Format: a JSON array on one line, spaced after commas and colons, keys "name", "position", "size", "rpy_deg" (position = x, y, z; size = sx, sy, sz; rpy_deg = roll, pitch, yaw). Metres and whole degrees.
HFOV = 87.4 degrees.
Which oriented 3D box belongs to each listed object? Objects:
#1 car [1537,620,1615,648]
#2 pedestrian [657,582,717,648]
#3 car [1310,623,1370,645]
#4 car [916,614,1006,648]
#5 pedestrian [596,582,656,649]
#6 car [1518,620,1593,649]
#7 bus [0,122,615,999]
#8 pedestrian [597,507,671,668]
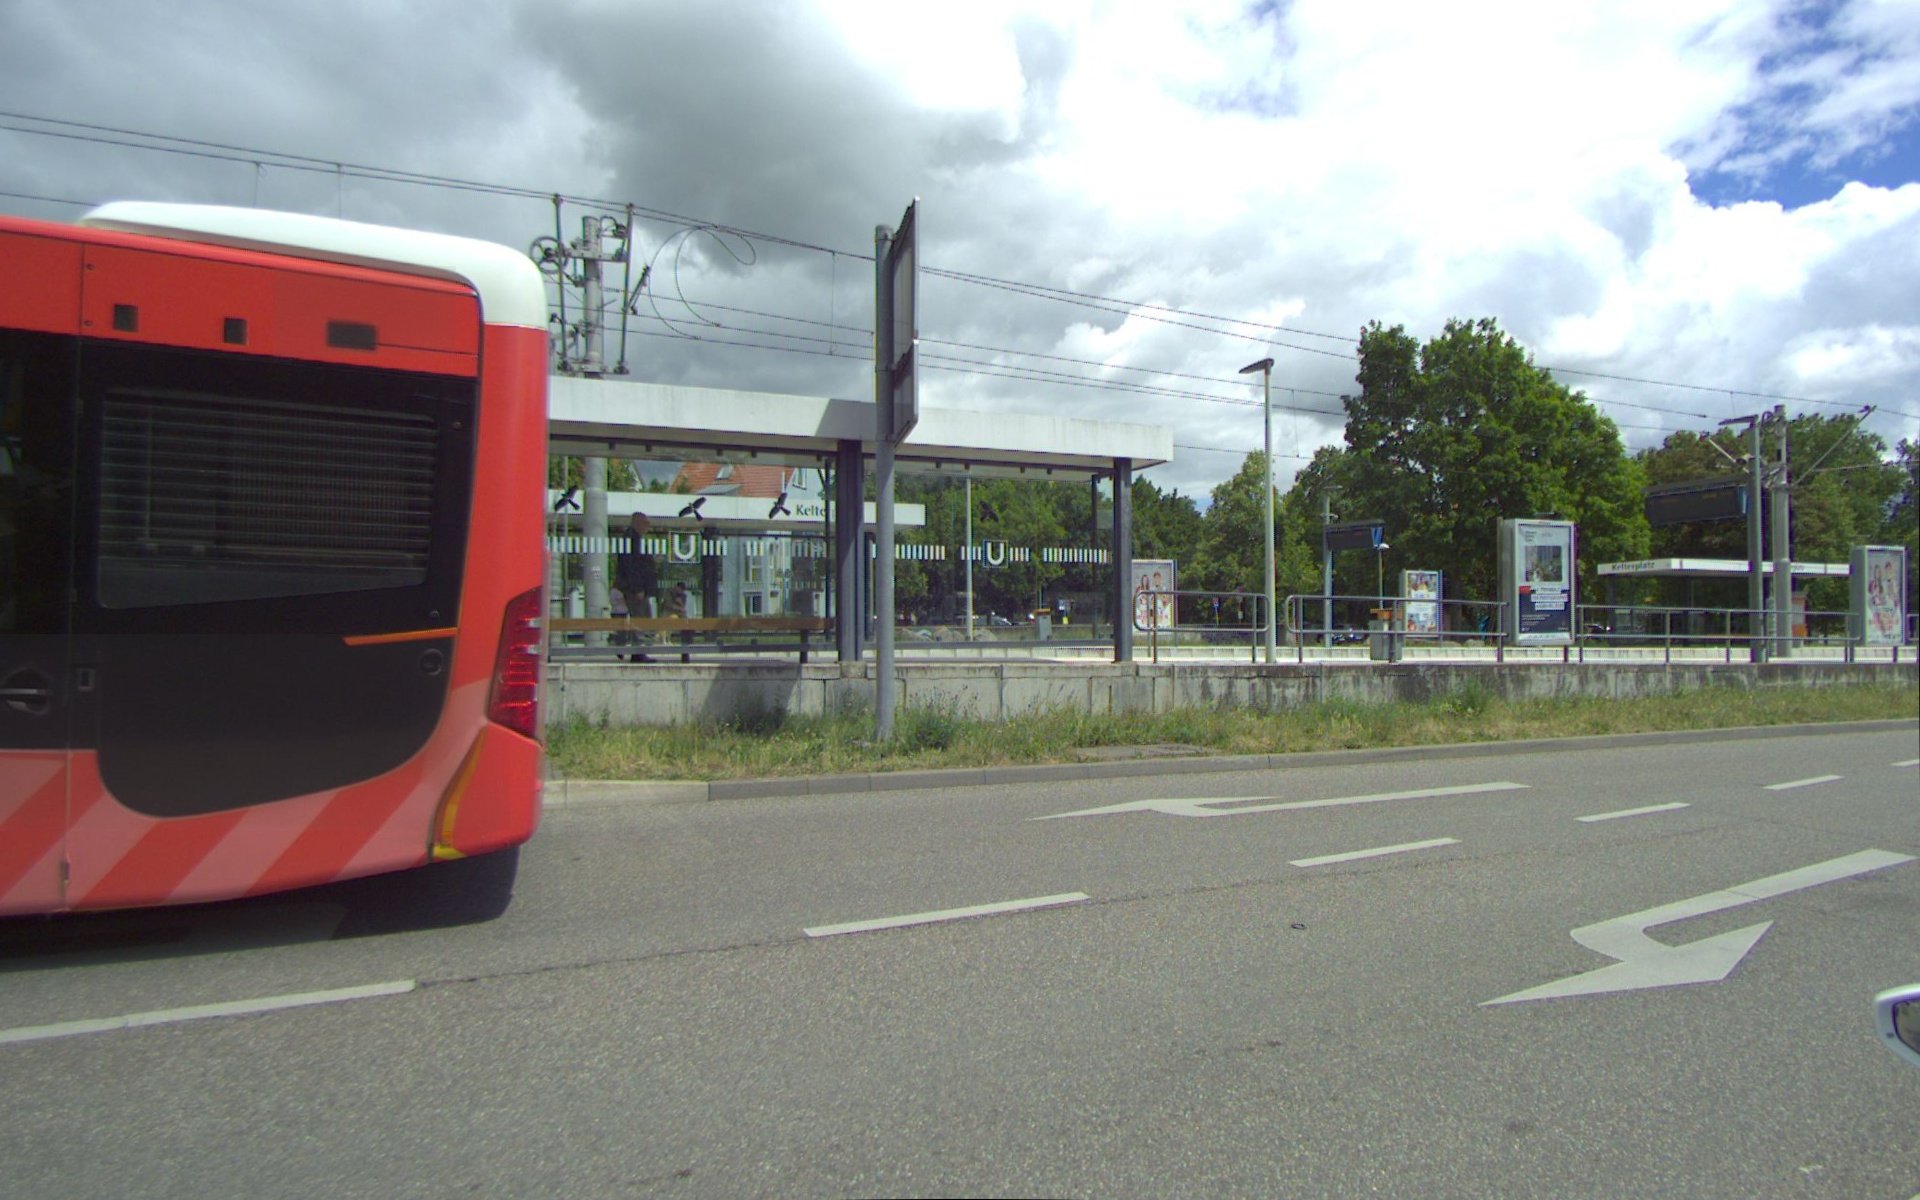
[{"name": "car", "position": [39.846, 2.153, 65.060], "size": [1.947, 1.706, 3.978], "rpy_deg": [-1, -1, -23]}, {"name": "pedestrian", "position": [-5.623, 0.317, 20.677], "size": [1.096, 1.309, 0.756], "rpy_deg": [1, -1, -22]}, {"name": "car", "position": [27.460, 2.413, 72.649], "size": [1.943, 1.511, 3.807], "rpy_deg": [-1, -1, -26]}, {"name": "car", "position": [0.059, 1.613, 53.171], "size": [4.341, 1.701, 1.939], "rpy_deg": [-1, 0, -21]}, {"name": "pedestrian", "position": [-6.713, 0.327, 20.187], "size": [1.096, 1.309, 0.756], "rpy_deg": [1, -1, -22]}, {"name": "car", "position": [37.853, 2.158, 63.951], "size": [2.024, 1.728, 3.628], "rpy_deg": [-1, 0, -23]}, {"name": "bus", "position": [-6.090, -0.146, 3.889], "size": [8.835, 3.110, 2.720], "rpy_deg": [1, -2, -23]}, {"name": "pedestrian", "position": [-3.544, -0.129, 10.899], "size": [0.690, 1.678, 0.685], "rpy_deg": [-1, 0, -23]}]
